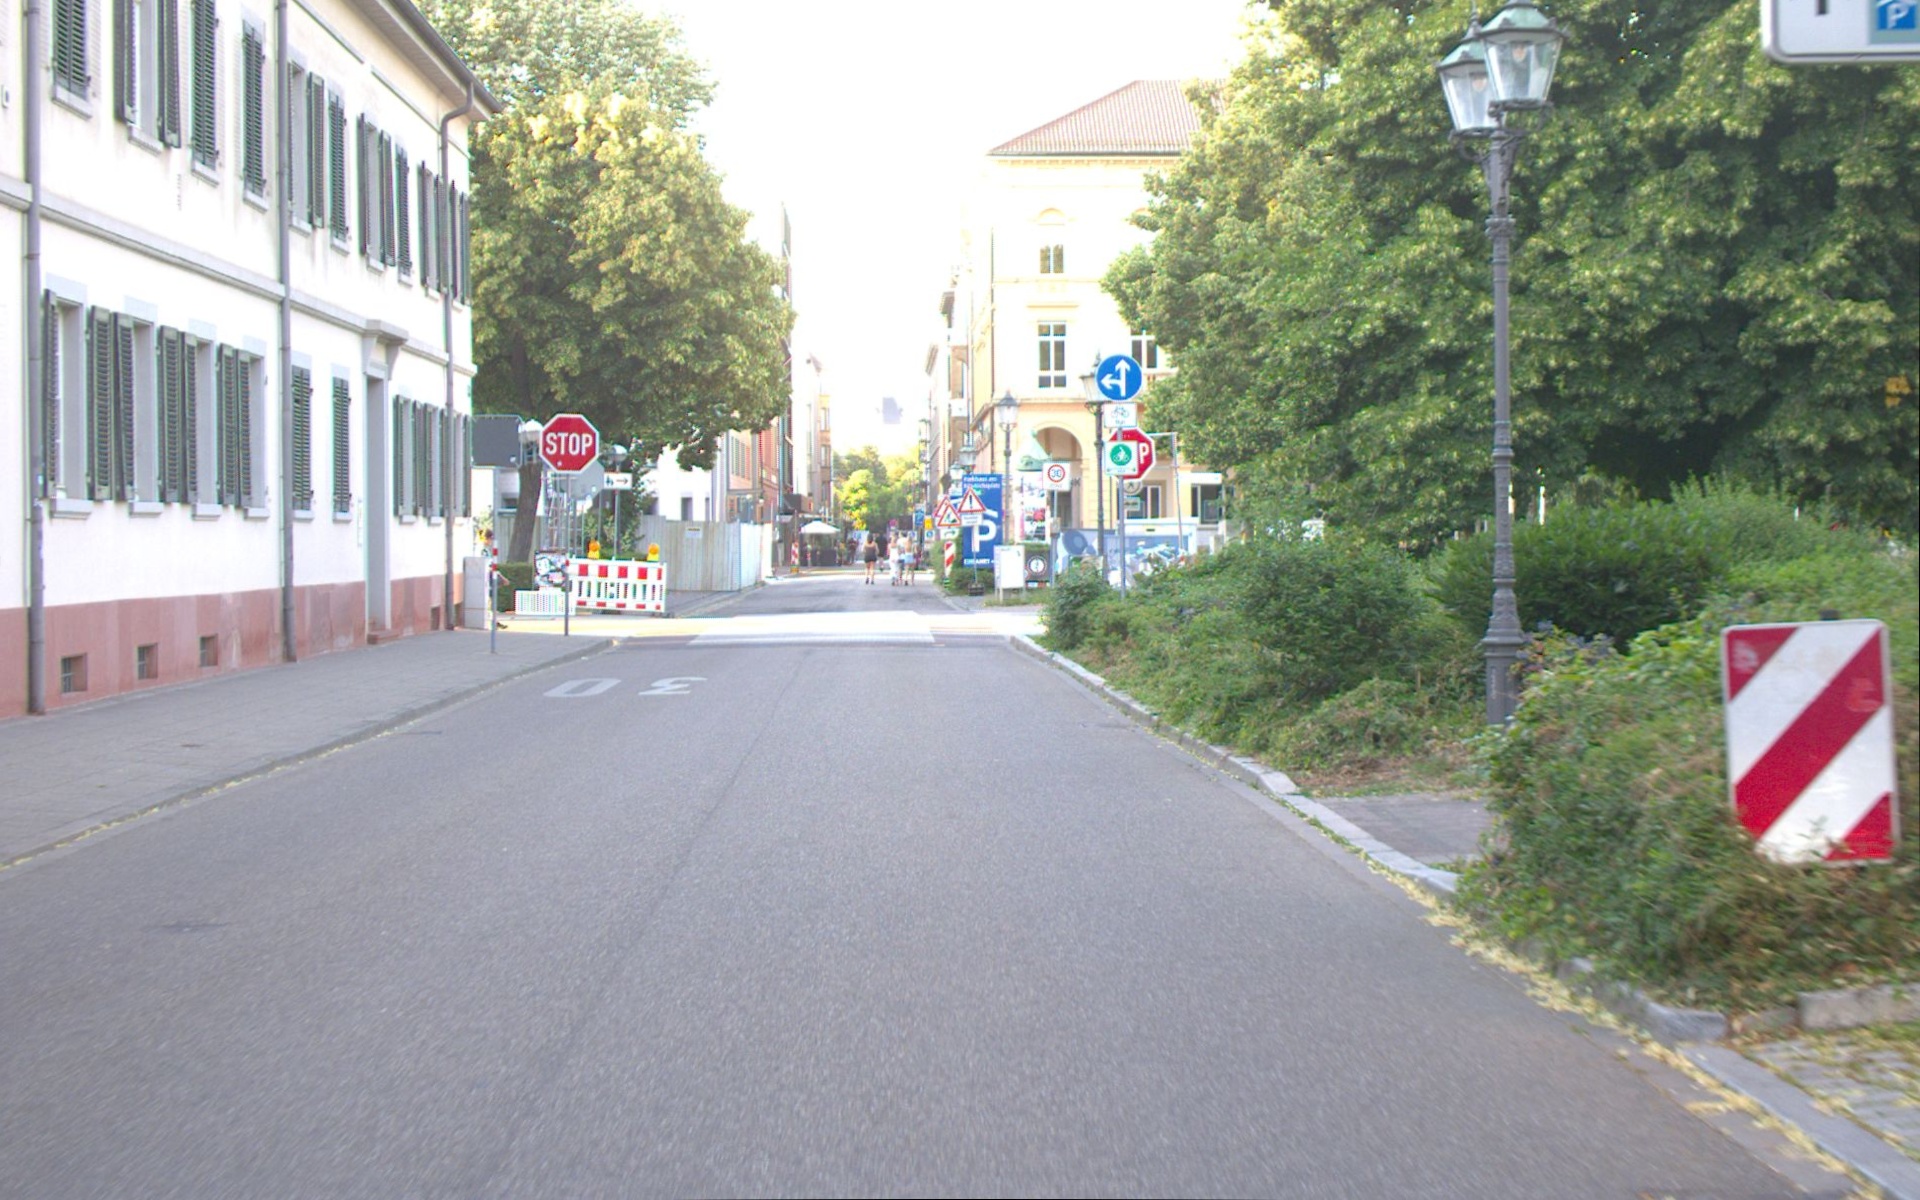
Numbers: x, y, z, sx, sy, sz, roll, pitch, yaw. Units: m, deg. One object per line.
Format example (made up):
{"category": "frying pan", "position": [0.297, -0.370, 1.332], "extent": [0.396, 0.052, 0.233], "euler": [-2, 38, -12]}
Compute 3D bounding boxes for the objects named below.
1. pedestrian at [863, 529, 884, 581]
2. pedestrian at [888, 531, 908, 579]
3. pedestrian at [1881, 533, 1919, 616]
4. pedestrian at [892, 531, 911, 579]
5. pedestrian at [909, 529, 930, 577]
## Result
{"category": "pedestrian", "position": [-2.946, -1.532, 117.185], "extent": [0.657, 1.754, 0.745], "euler": [-1, 1, -1]}
{"category": "pedestrian", "position": [-2.079, -1.520, 115.642], "extent": [0.657, 1.611, 0.745], "euler": [-1, 1, -1]}
{"category": "pedestrian", "position": [15.531, -0.419, 56.298], "extent": [0.596, 1.337, 0.818], "euler": [-1, 1, -7]}
{"category": "pedestrian", "position": [-2.004, -1.552, 117.934], "extent": [0.657, 1.630, 0.745], "euler": [-1, 1, -1]}
{"category": "pedestrian", "position": [-1.361, -1.576, 115.643], "extent": [0.657, 1.611, 0.745], "euler": [-1, 1, -1]}
